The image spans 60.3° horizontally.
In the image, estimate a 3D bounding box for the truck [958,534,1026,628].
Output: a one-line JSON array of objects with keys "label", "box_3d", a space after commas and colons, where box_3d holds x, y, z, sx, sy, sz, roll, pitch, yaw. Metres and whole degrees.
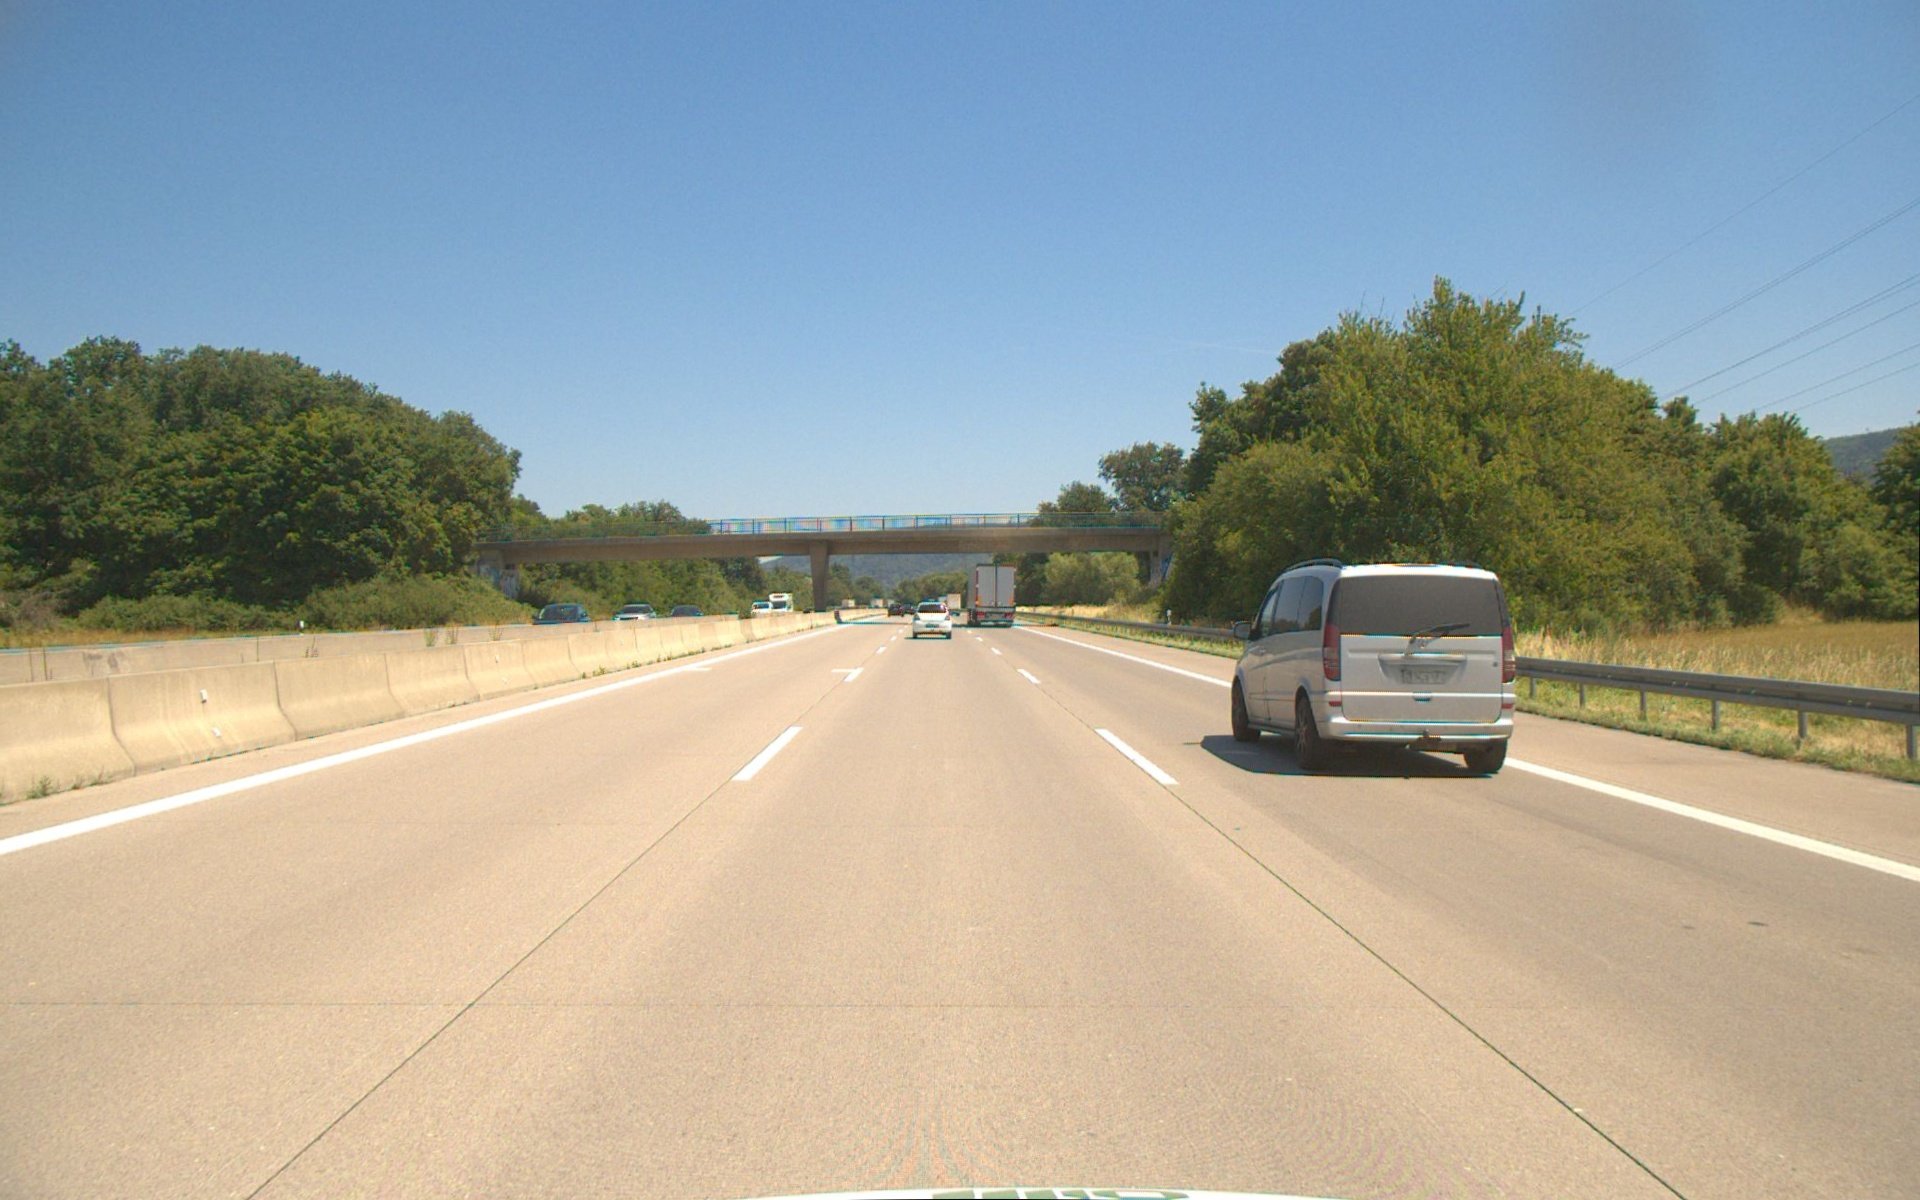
[{"label": "truck", "box_3d": [2.008, -1.174, 112.793, 3.505, 5.889, 18.238, 0, 0, -2]}]

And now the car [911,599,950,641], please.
[{"label": "car", "box_3d": [-1.242, 0.835, 70.712, 1.608, 1.691, 3.359, 1, 0, -1]}]

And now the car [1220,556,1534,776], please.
[{"label": "car", "box_3d": [4.061, 0.572, 17.092, 1.841, 1.922, 5.278, 0, 0, -1]}]

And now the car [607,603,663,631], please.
[{"label": "car", "box_3d": [-18.131, 0.926, 92.419, 2.023, 1.523, 6.134, -1, 0, -1]}]

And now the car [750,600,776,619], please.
[{"label": "car", "box_3d": [-18.076, 0.869, 151.794, 1.789, 1.748, 5.791, 0, 0, -1]}]

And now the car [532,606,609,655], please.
[{"label": "car", "box_3d": [-13.278, 1.014, 56.581, 1.653, 1.571, 4.337, -1, 0, -1]}]

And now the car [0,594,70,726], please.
[{"label": "car", "box_3d": [-12.892, 0.763, 20.123, 1.805, 1.644, 4.426, -1, 0, -2]}]

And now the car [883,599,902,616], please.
[{"label": "car", "box_3d": [-7.266, 0.769, 178.036, 1.982, 1.730, 3.997, 2, 0, -4]}]
